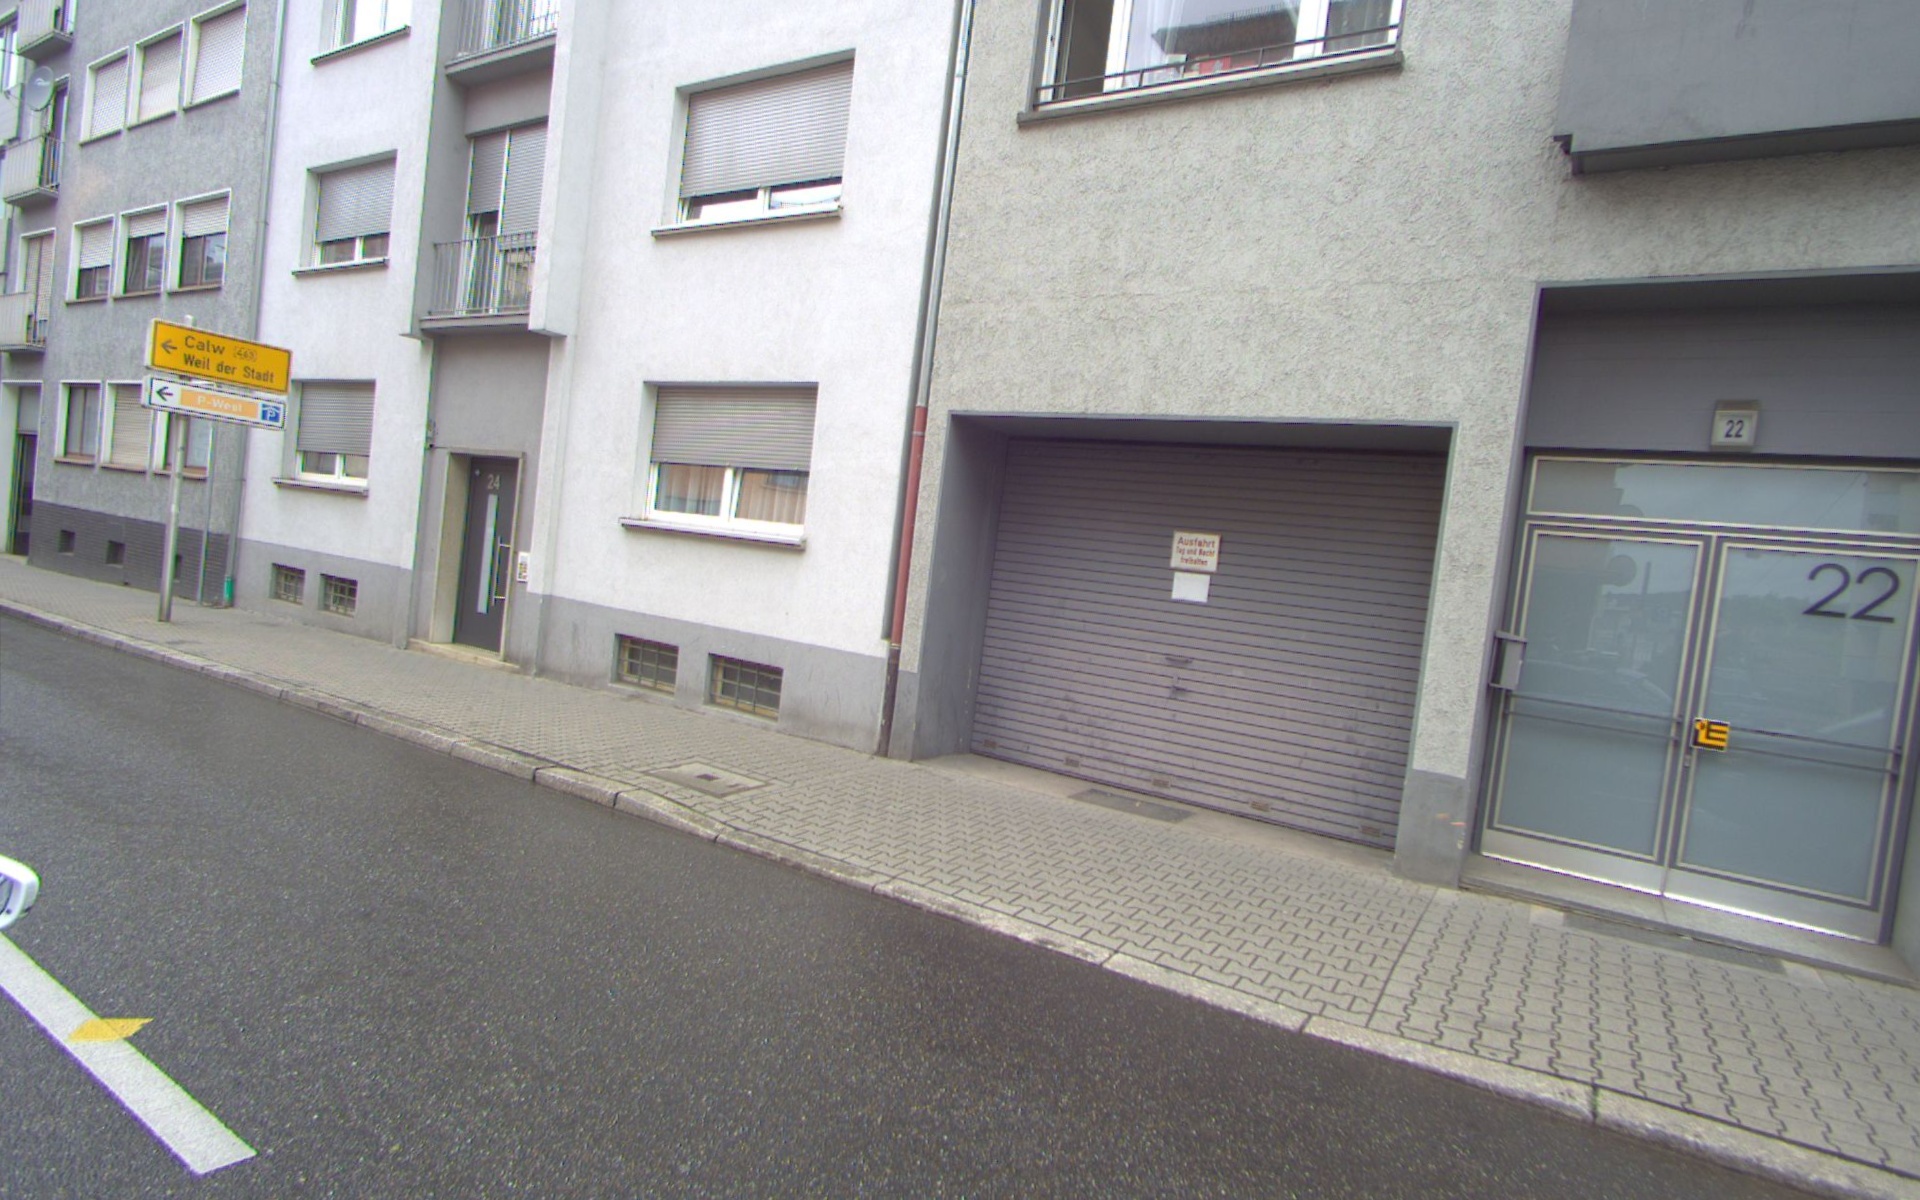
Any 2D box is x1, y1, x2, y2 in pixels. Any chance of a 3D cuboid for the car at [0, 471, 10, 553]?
[{"bbox_3d":[-13.475,-0.888,11.906,4.667,1.796,1.944,7,-1,31],"label":"car"}]
